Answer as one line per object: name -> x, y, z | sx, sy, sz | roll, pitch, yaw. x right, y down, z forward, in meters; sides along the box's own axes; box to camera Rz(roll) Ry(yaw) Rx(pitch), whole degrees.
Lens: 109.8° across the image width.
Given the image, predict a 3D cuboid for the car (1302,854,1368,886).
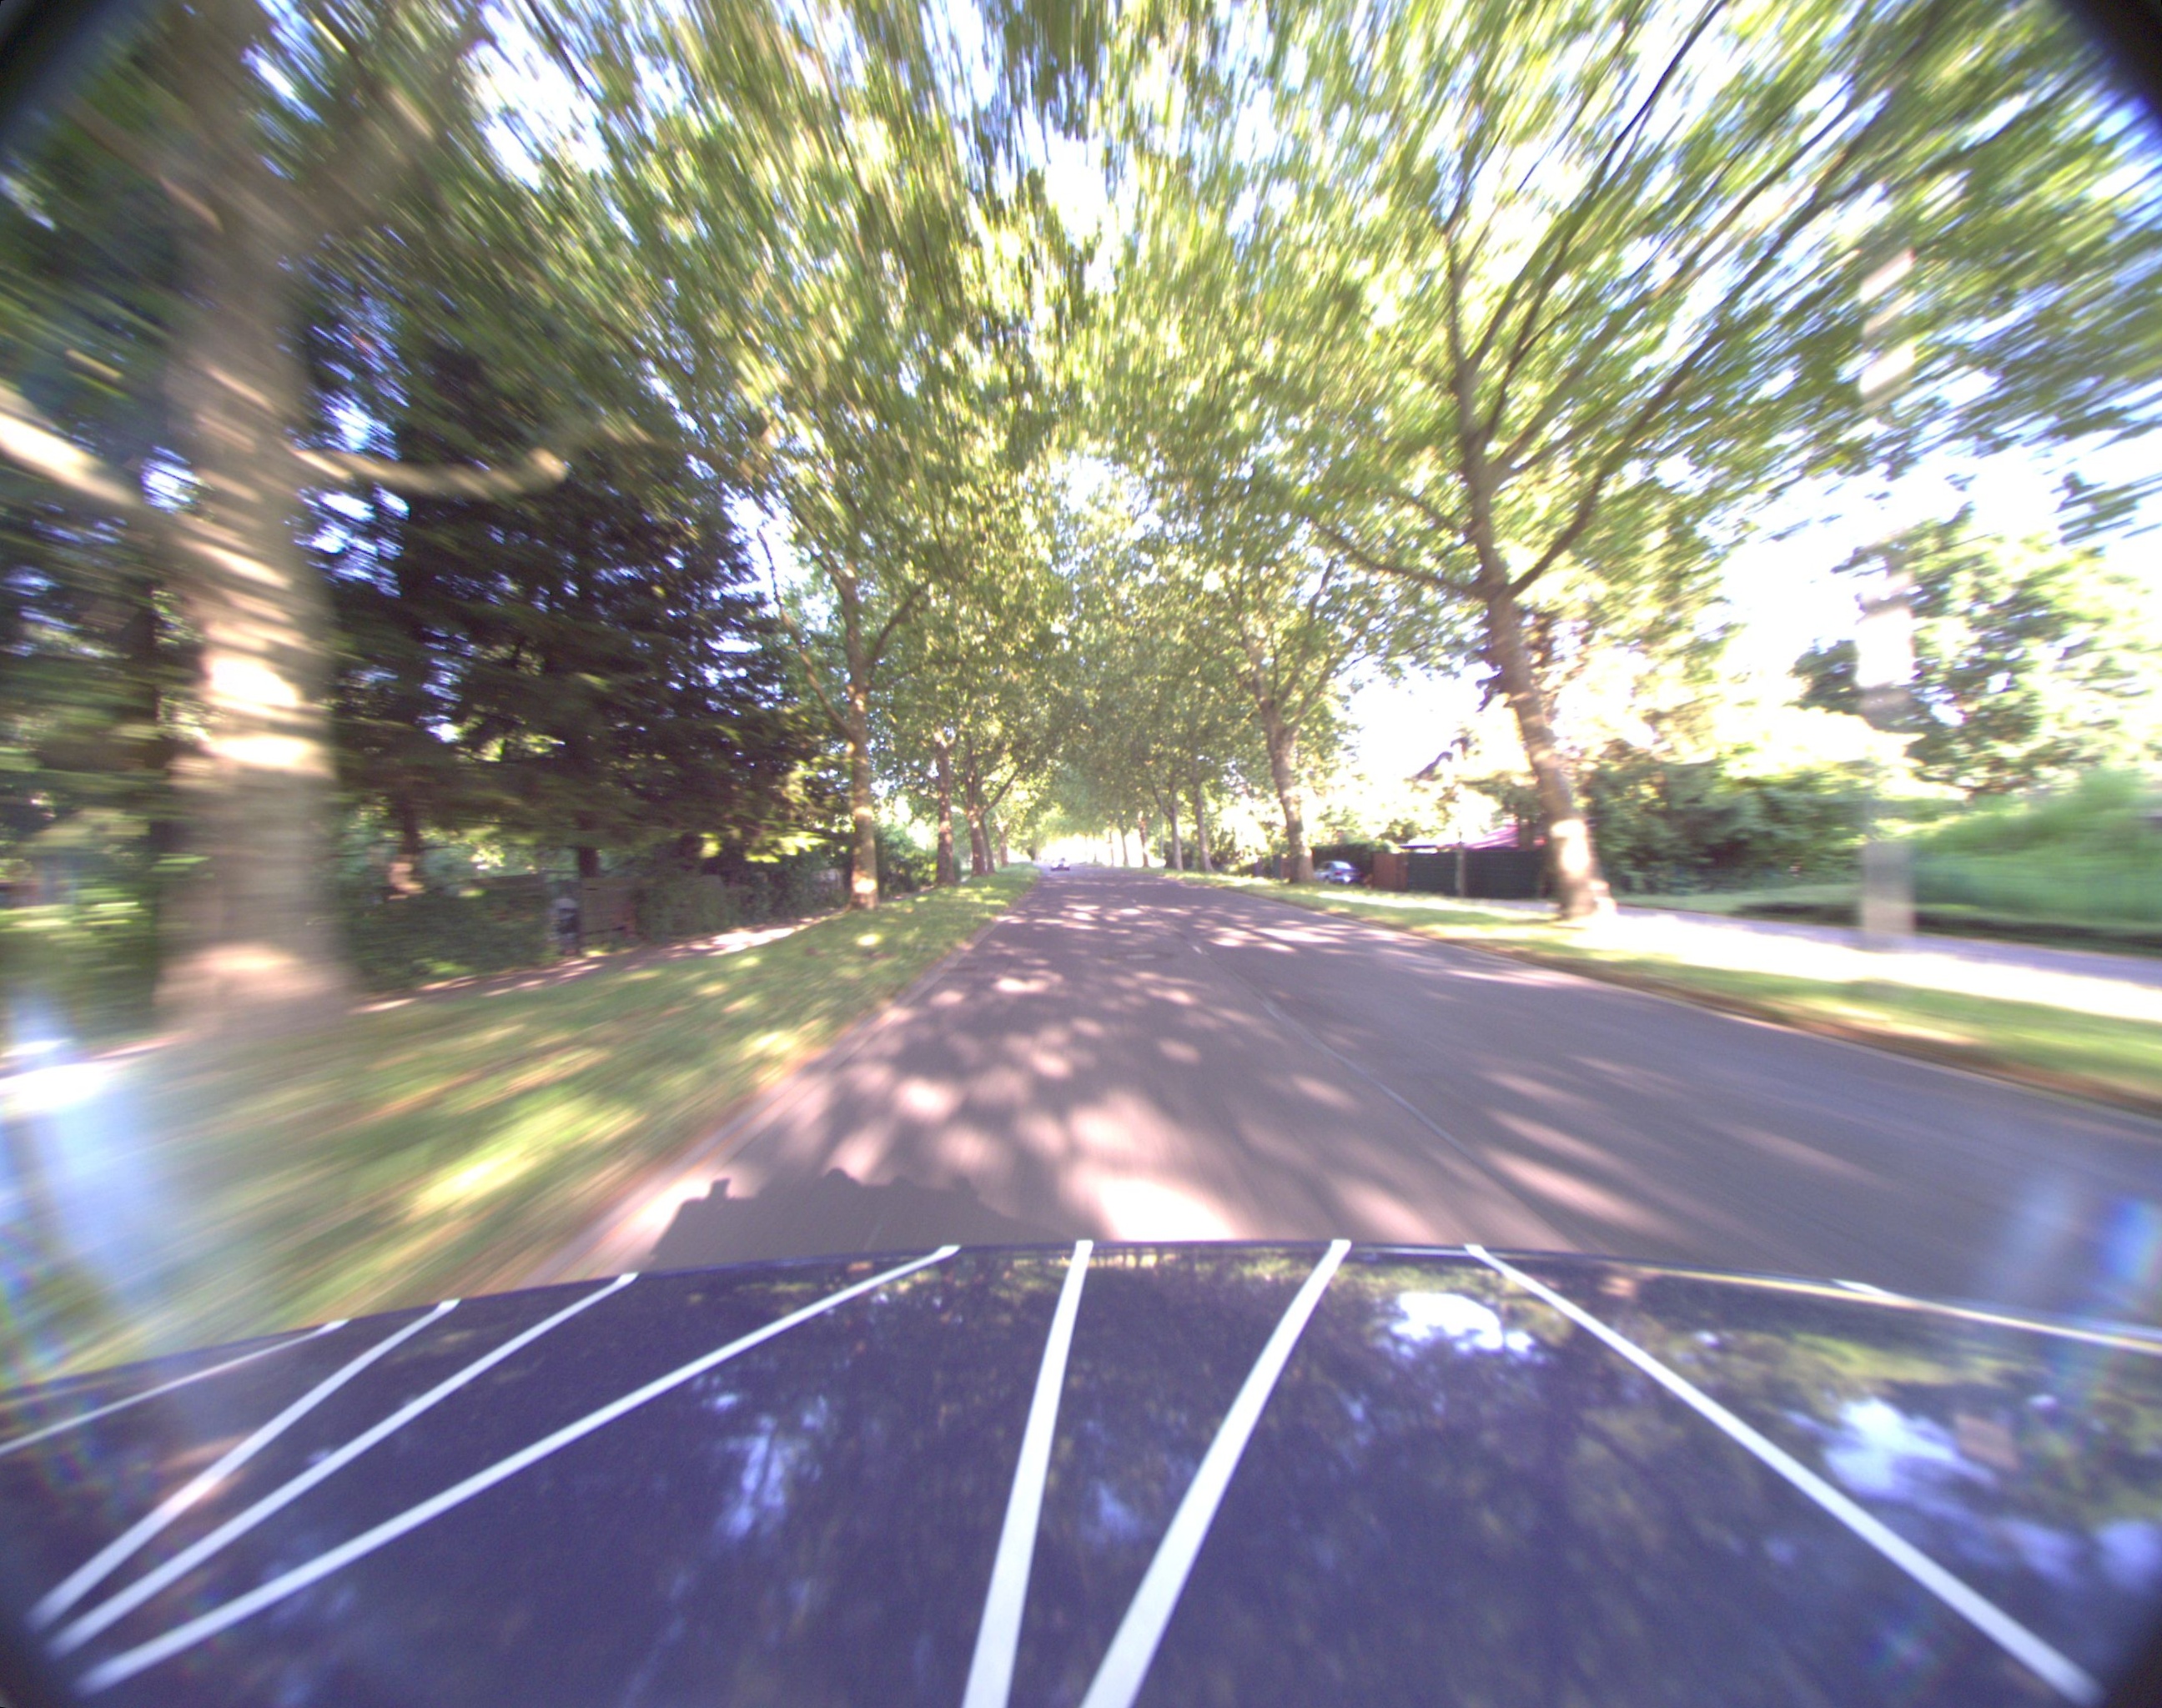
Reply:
car -> 12.944, 0.781, 38.938 | 1.814, 1.521, 3.998 | 0, 0, -4
